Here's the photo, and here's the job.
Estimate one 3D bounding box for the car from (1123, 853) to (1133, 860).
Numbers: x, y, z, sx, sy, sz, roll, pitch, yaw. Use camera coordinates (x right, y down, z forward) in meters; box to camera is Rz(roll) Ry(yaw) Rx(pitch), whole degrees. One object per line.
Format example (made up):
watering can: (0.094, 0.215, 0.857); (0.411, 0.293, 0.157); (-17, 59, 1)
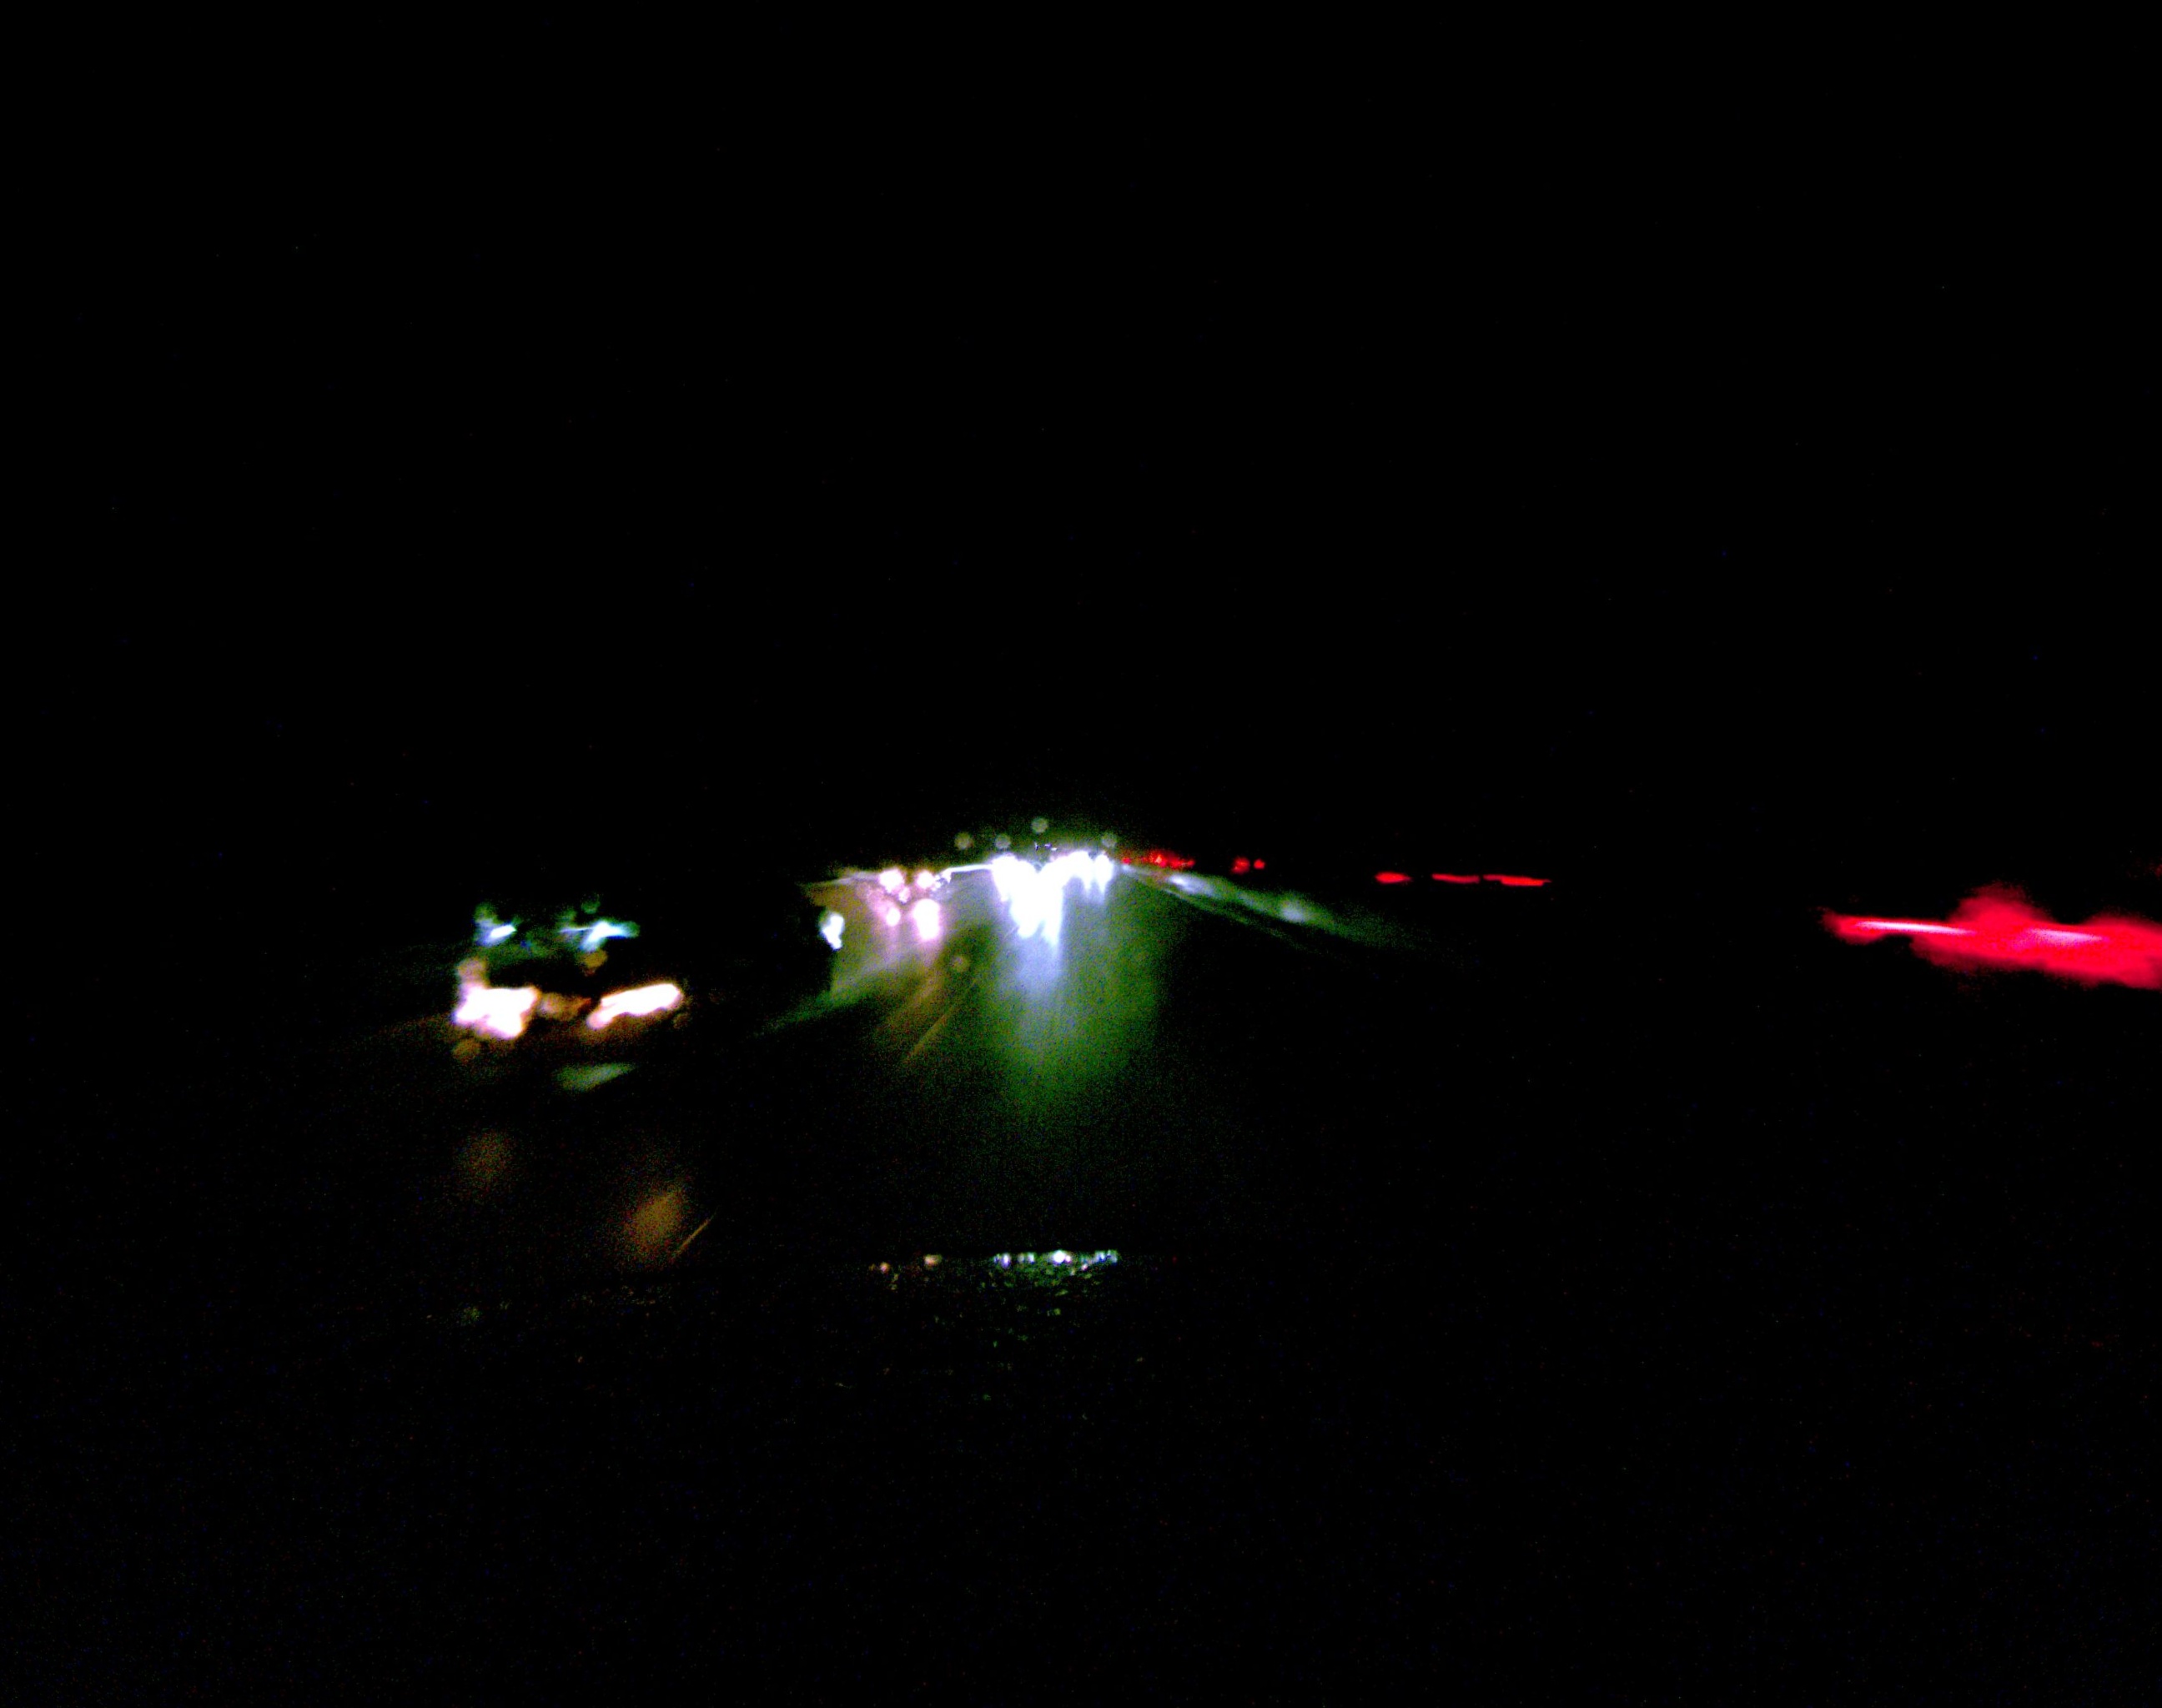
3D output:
car: (11.167, 0.639, 179.431); (1.999, 1.607, 4.417); (0, 0, 0)

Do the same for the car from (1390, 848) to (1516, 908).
car: (12.867, 0.760, 26.699); (2.067, 1.813, 4.880); (-2, 1, 1)

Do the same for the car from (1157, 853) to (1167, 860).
car: (18.426, 0.502, 173.533); (1.877, 1.607, 4.501); (0, 0, 0)

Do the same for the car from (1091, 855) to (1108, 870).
car: (1.926, 0.856, 79.026); (1.619, 1.452, 3.767); (-2, 1, 2)

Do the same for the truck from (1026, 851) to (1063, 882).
truck: (-2.173, 0.697, 46.365); (1.848, 1.686, 4.854); (-2, 1, 1)

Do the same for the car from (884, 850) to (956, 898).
car: (-7.037, 0.827, 33.856); (2.051, 1.962, 5.406); (0, 0, 0)

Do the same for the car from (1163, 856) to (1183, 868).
car: (10.162, 0.859, 84.008); (1.758, 1.354, 4.116); (0, 0, 1)

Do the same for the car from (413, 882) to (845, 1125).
car: (-3.588, 1.064, 6.947); (1.616, 1.404, 3.791); (-2, 1, 0)

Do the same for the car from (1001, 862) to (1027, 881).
car: (-5.844, 1.481, 66.675); (1.747, 1.470, 5.366); (-2, 0, 1)

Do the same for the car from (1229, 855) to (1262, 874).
car: (13.442, 0.817, 62.251); (1.759, 1.516, 4.115); (0, 0, 0)

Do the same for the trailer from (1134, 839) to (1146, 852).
trailer: (20.614, -2.859, 266.998); (2.894, 4.278, 15.719); (-2, -1, 1)

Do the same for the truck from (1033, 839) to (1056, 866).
truck: (-5.682, -0.252, 120.182); (2.866, 4.079, 7.014); (-3, 1, 2)

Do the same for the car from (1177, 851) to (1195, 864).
car: (14.430, 0.482, 104.458); (1.866, 1.572, 4.513); (-2, 1, 1)

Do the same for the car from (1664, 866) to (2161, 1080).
car: (8.900, 0.959, 8.098); (1.970, 1.467, 4.446); (-2, 1, 1)

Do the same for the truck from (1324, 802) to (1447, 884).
truck: (17.916, -0.626, 45.890); (2.938, 4.302, 11.434); (1, 1, 1)

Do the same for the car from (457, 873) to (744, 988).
car: (-8.015, 1.159, 13.415); (1.899, 1.477, 4.961); (-2, 0, 0)

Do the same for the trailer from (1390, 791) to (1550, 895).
trailer: (17.780, -0.506, 35.664); (2.947, 4.252, 8.935); (1, 1, 1)

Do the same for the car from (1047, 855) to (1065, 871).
car: (-2.584, 0.917, 79.516); (1.619, 1.494, 3.767); (-2, 1, 2)

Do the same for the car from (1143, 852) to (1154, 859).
car: (14.674, 0.284, 165.234); (1.999, 1.607, 4.745); (0, 0, 0)

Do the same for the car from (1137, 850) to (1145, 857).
car: (14.970, -0.134, 189.838); (1.654, 1.572, 5.128); (-2, 0, 1)
